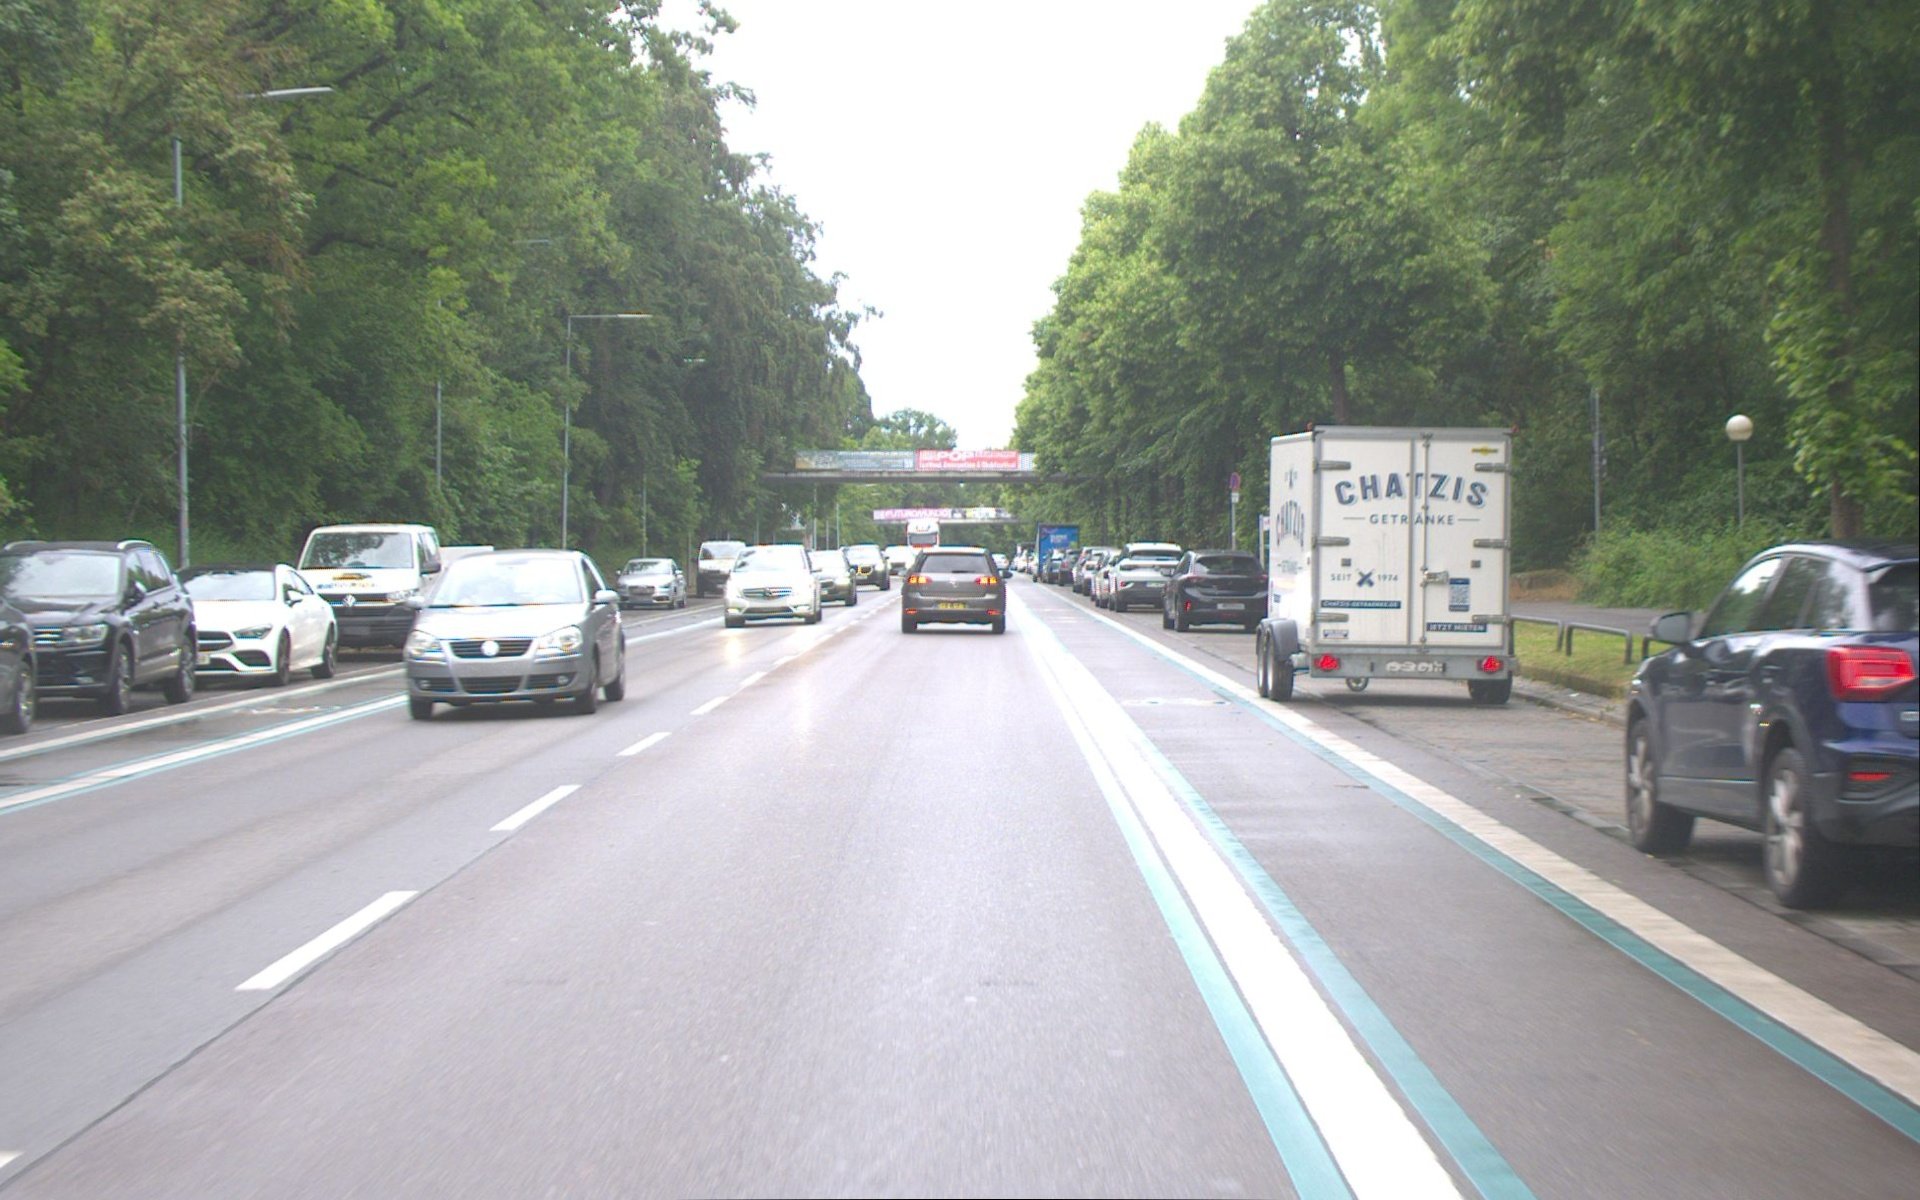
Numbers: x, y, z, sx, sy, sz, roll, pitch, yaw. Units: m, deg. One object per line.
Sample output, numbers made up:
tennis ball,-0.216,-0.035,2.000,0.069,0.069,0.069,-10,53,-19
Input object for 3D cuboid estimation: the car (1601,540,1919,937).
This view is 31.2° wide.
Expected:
car,4.088,0.496,15.092,1.713,1.507,3.976,0,1,-1

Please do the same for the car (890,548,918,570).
car,-2.874,-2.121,176.770,1.378,1.127,3.313,0,1,0

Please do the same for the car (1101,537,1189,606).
car,4.333,-0.687,80.945,1.897,1.601,4.000,0,1,0

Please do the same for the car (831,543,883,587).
car,-3.724,-1.276,124.823,1.706,1.566,4.000,0,1,1

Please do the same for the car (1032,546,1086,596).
car,4.003,-1.189,139.589,1.993,2.007,4.000,0,0,-1

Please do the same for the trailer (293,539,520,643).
trailer,-8.922,-0.175,55.657,1.628,1.623,3.666,0,1,31

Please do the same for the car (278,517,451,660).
car,-8.717,-0.204,50.664,1.939,2.007,4.741,0,1,-3

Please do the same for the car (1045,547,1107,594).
car,3.909,-1.015,116.305,1.993,1.557,4.000,0,1,0

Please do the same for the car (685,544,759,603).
car,-8.328,-0.948,120.747,2.159,2.007,5.031,0,1,1

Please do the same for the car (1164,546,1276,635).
car,4.594,-0.190,61.234,1.722,1.520,4.000,0,1,0

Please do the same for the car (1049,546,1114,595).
car,3.920,-0.969,111.478,1.993,1.557,4.000,0,1,0

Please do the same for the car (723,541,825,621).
car,-3.633,-0.398,67.574,1.835,1.512,4.000,0,1,-1

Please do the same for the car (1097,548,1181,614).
car,4.432,-0.492,85.563,1.897,1.601,4.000,0,1,0

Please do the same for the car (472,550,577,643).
car,-8.528,-0.094,67.490,1.576,1.764,3.415,0,1,1

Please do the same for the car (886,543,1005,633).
car,-0.287,-0.182,58.640,1.871,1.436,4.296,1,0,-2

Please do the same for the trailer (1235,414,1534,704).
trailer,3.914,-0.399,32.460,2.132,2.551,4.298,0,1,-2

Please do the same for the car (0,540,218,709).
car,-8.740,0.190,33.842,1.879,1.556,4.468,0,1,0

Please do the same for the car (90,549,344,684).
car,-8.625,0.151,40.289,1.993,1.483,4.468,0,1,0

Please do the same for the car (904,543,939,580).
car,-2.379,-2.350,212.671,1.993,2.007,3.999,-2,-3,0

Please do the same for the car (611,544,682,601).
car,-8.716,-0.777,95.658,1.672,1.508,3.630,1,1,-1

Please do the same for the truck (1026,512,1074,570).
truck,4.060,-2.657,155.859,2.113,2.590,4.301,0,1,0

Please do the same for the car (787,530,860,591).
car,-3.541,-1.048,89.645,1.706,1.566,4.000,0,1,1

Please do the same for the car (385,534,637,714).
car,-3.979,0.163,31.042,1.698,1.480,4.035,-1,1,0

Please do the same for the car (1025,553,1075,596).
car,3.857,-1.105,147.731,1.993,1.766,4.000,-2,0,0

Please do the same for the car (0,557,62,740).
car,-8.685,0.398,27.674,1.808,1.483,4.469,0,1,-1
